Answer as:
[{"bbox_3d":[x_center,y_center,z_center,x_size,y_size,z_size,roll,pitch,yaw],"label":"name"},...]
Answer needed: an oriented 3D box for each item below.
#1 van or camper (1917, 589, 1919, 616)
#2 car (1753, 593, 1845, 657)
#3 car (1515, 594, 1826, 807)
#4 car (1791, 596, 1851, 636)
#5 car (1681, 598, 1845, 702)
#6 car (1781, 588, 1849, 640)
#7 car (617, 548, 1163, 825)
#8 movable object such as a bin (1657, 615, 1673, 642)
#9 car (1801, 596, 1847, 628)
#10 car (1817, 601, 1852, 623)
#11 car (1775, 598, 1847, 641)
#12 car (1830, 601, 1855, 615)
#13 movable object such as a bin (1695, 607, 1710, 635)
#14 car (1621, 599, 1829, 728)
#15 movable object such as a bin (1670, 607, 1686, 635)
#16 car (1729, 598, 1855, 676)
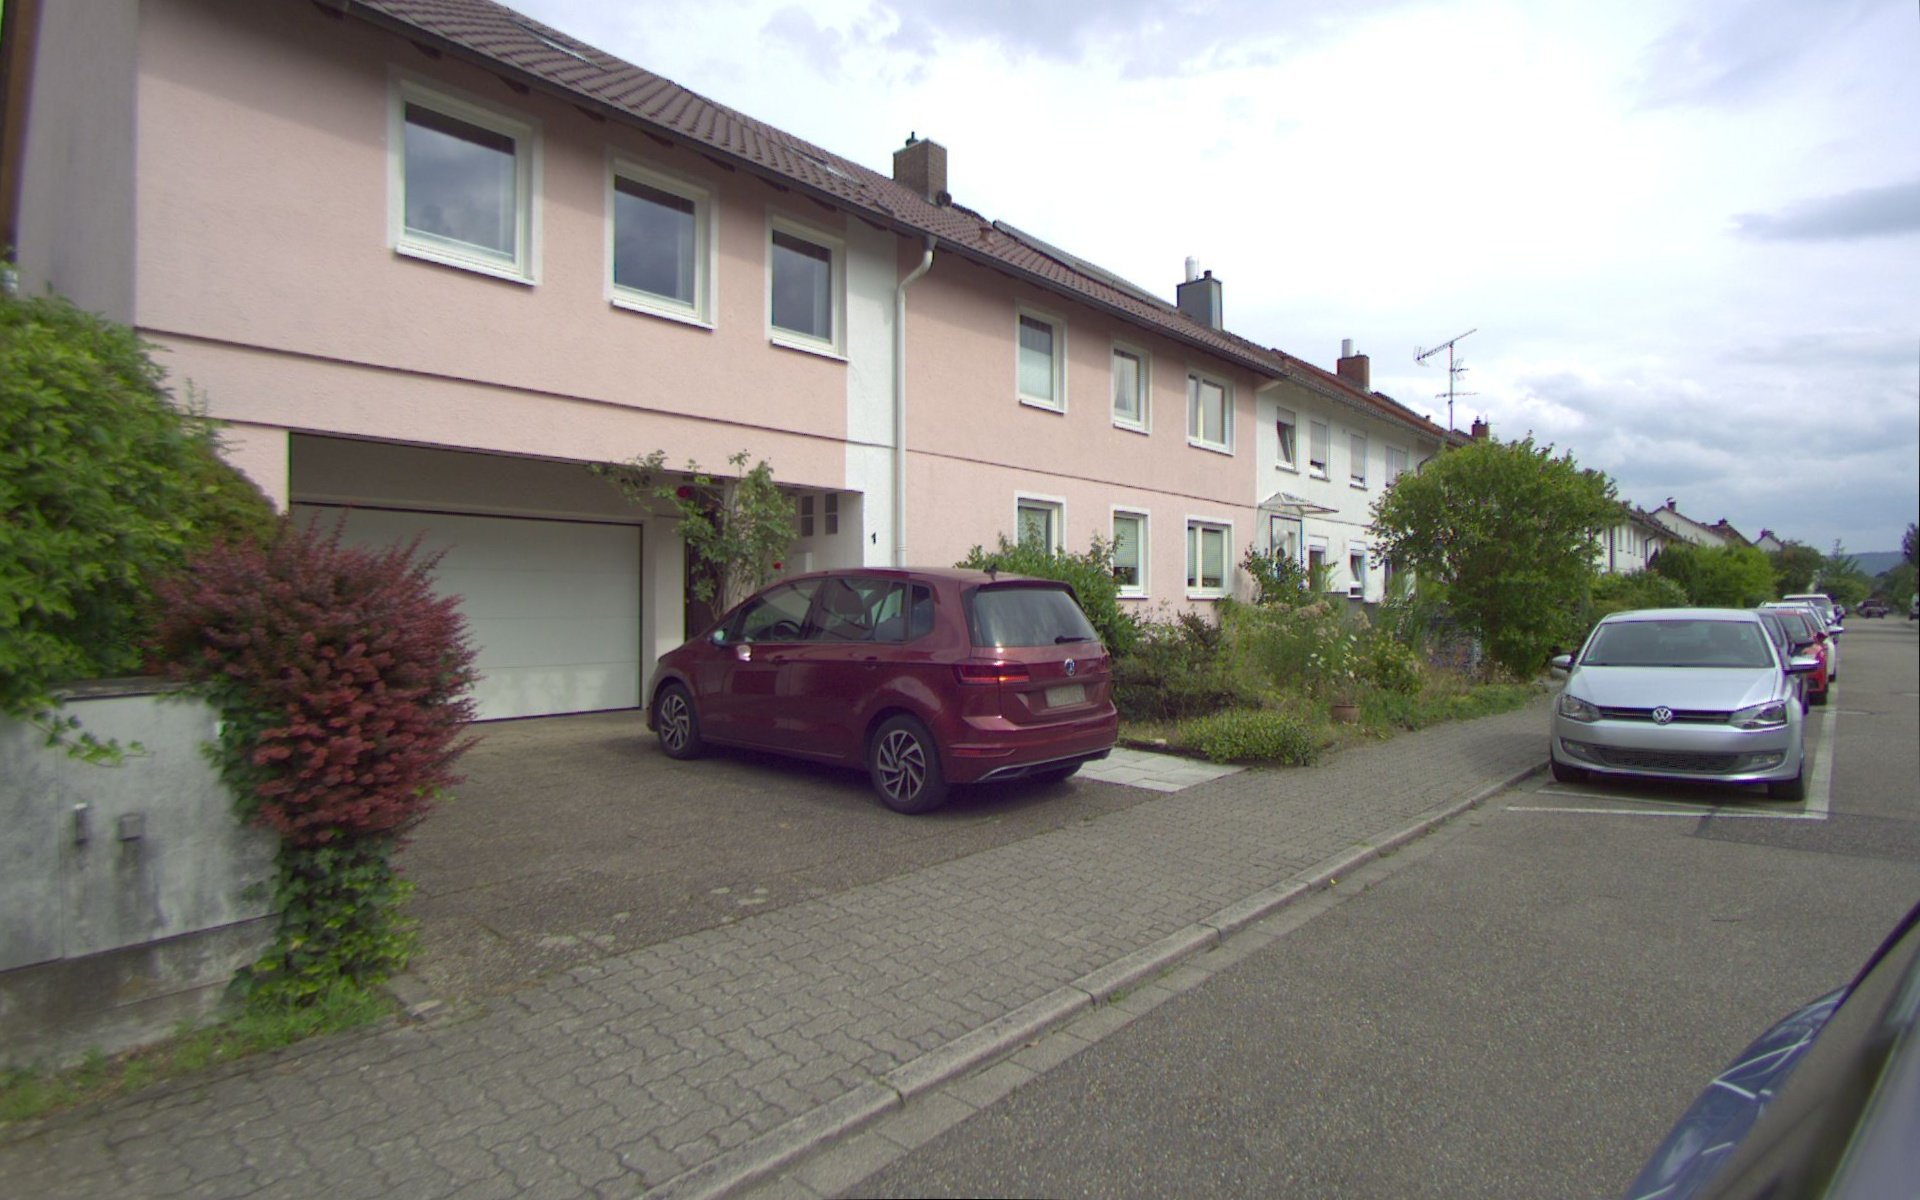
[{"bbox_3d":[101.540,0.264,105.602,2.339,2.770,5.659,0,-1,42],"label":"van or camper"},{"bbox_3d":[21.979,0.631,26.488,1.711,1.563,3.914,-2,-2,41],"label":"car"},{"bbox_3d":[6.444,0.687,9.035,1.862,1.435,4.191,0,-1,40],"label":"car"},{"bbox_3d":[38.107,0.669,44.872,1.807,1.672,4.349,1,0,38],"label":"car"},{"bbox_3d":[13.258,0.730,16.590,1.772,1.454,4.752,-3,-2,42],"label":"car"},{"bbox_3d":[34.790,0.544,41.237,2.018,1.972,4.679,1,0,40],"label":"car"},{"bbox_3d":[-0.757,0.456,7.946,4.269,1.580,1.904,1,1,43],"label":"car"},{"bbox_3d":[24.158,0.969,34.678,0.430,0.933,0.458,-2,-2,37],"label":"movable object such as a bin"},{"bbox_3d":[47.253,0.632,55.420,1.865,1.674,4.399,0,0,40],"label":"car"},{"bbox_3d":[60.472,0.817,69.967,1.748,1.486,4.578,0,0,41],"label":"car"},{"bbox_3d":[31.501,0.701,37.430,1.900,1.478,4.066,1,0,42],"label":"car"},{"bbox_3d":[102.907,0.913,118.084,1.990,1.619,3.944,0,0,39],"label":"car"},{"bbox_3d":[24.943,0.712,34.008,0.406,0.933,0.415,0,0,37],"label":"movable object such as a bin"},{"bbox_3d":[10.008,0.694,13.114,1.772,1.373,4.199,1,0,42],"label":"car"},{"bbox_3d":[24.436,0.715,34.451,0.430,0.933,0.459,1,0,37],"label":"movable object such as a bin"},{"bbox_3d":[17.206,0.689,21.007,1.835,1.430,4.571,1,0,39],"label":"car"}]
